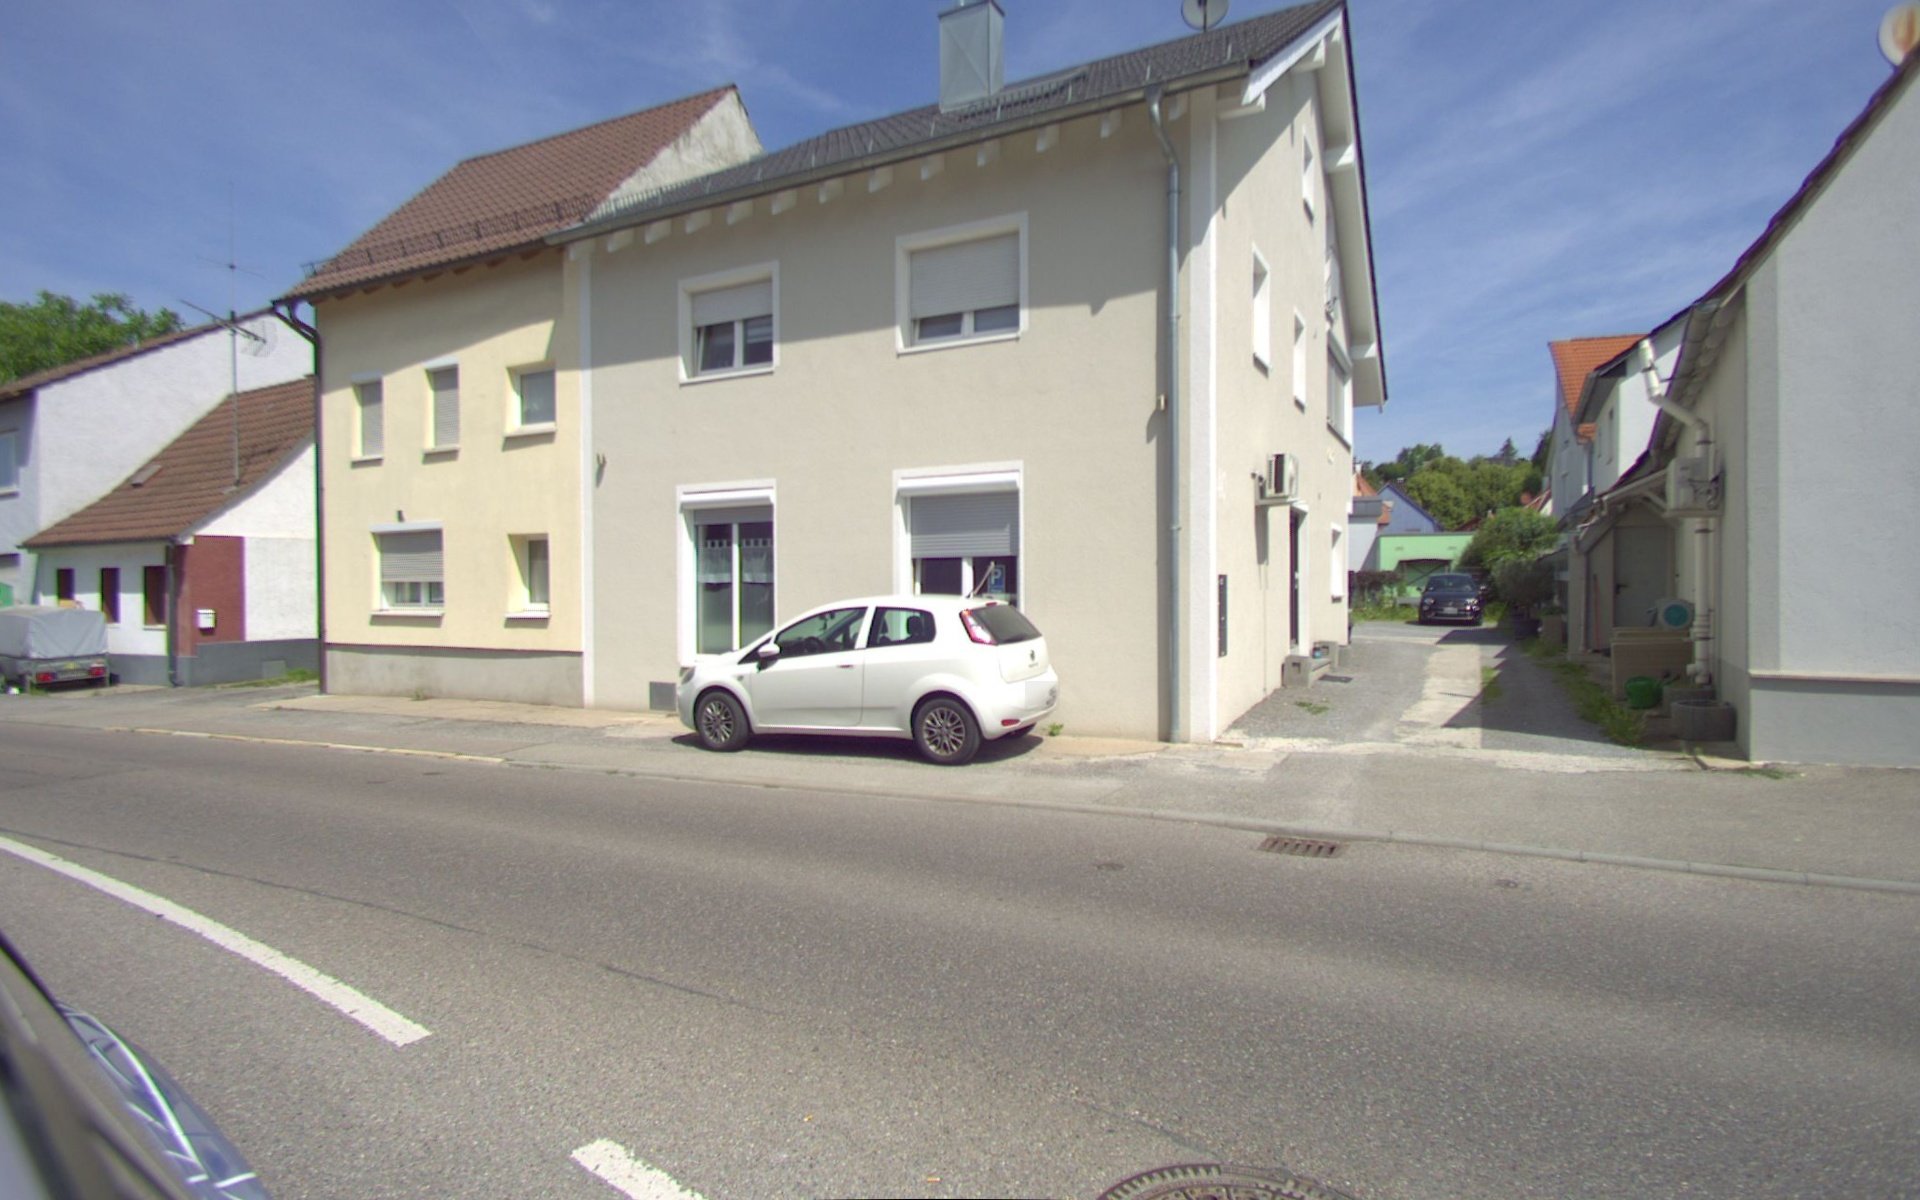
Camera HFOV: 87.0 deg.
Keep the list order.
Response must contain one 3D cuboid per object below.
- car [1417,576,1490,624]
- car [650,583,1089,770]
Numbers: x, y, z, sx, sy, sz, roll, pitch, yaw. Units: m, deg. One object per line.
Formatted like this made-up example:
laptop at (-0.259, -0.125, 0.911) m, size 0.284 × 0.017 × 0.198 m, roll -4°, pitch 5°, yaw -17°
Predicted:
car at (14.509, 0.000, 29.638) m, size 1.764 × 1.308 × 3.999 m, roll -1°, pitch 0°, yaw 28°
car at (-0.907, 0.657, 10.076) m, size 3.978 × 1.513 × 1.810 m, roll -1°, pitch 1°, yaw 26°
